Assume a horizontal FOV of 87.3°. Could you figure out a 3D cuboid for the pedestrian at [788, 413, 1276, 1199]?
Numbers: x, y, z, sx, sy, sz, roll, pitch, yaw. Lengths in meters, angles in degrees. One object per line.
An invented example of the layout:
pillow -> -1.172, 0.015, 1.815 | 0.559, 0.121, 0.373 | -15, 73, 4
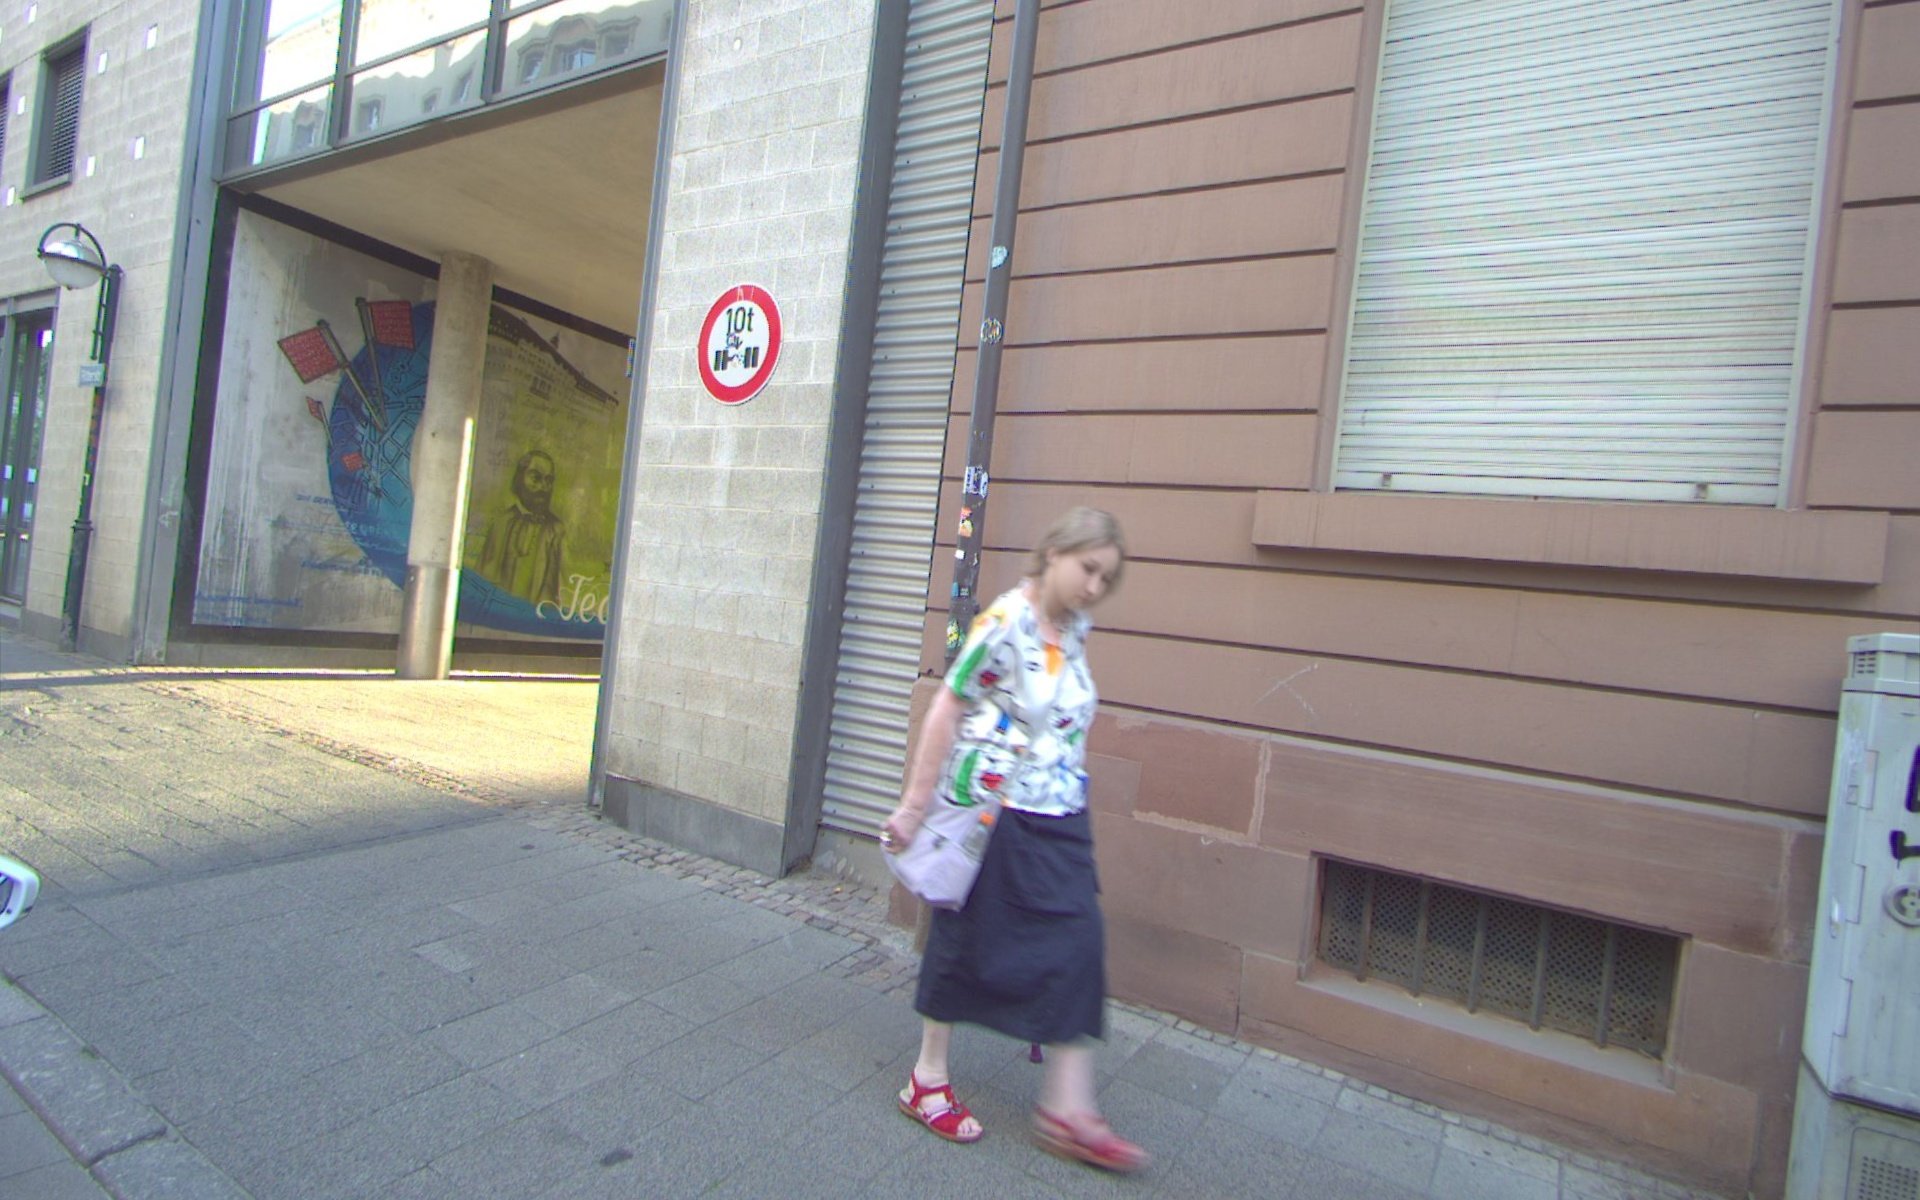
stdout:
pedestrian -> 0.206, 0.495, 2.763 | 0.883, 1.827, 0.844 | 6, 3, 37
